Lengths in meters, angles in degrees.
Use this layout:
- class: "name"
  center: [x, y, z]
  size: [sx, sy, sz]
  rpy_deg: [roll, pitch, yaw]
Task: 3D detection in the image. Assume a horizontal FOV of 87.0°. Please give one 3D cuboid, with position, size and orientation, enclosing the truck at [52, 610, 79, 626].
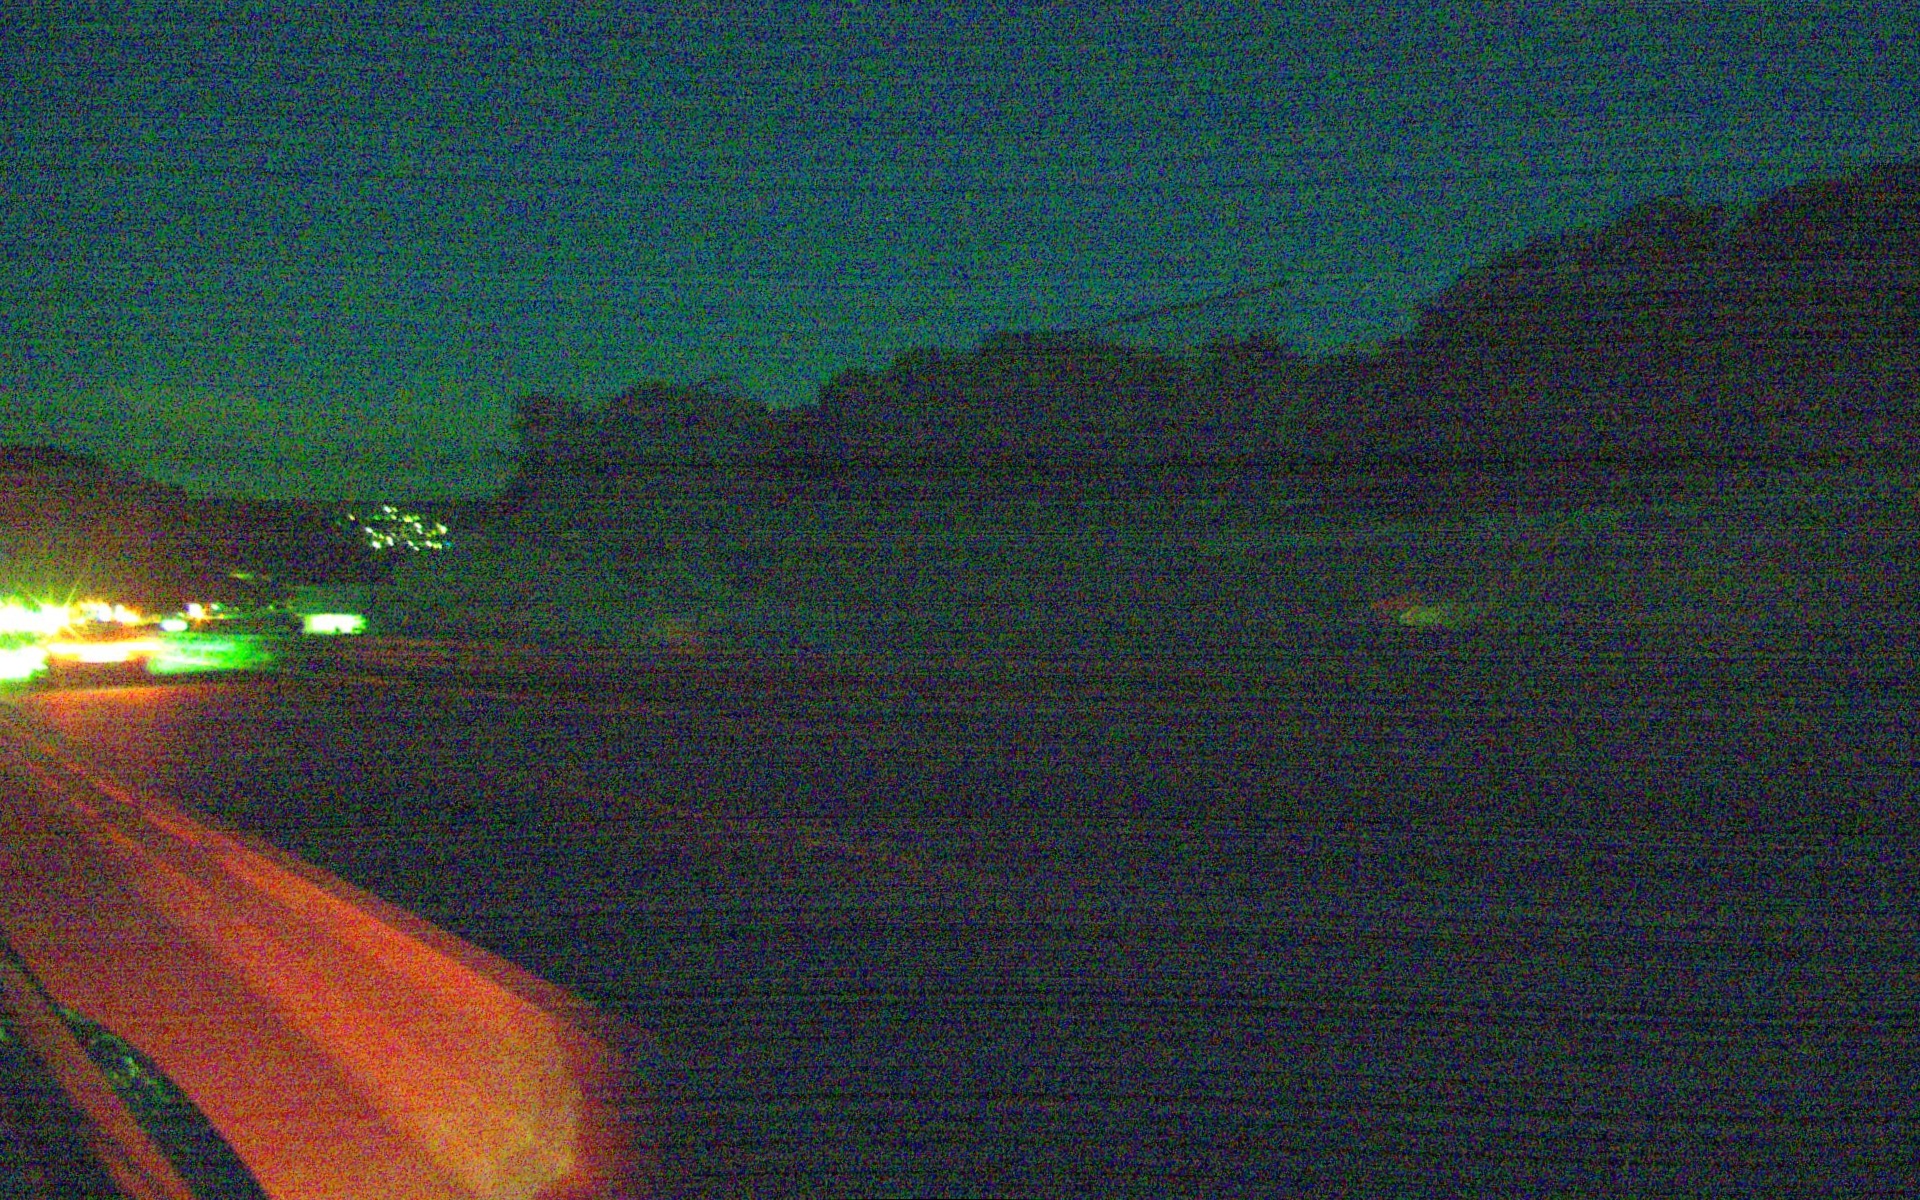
- class: "truck"
  center: [-140.242, 2.773, 158.686]
  size: [2.388, 2.443, 7.108]
  rpy_deg: [1, -2, -35]

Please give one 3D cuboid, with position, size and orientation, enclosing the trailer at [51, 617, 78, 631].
- class: "trailer"
  center: [-93.433, 2.548, 105.615]
  size: [3.352, 1.437, 1.862]
  rpy_deg: [-2, -3, 45]

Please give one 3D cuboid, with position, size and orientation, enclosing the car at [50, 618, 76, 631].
- class: "car"
  center: [-96.304, 2.655, 108.608]
  size: [1.890, 1.437, 4.956]
  rpy_deg: [2, -3, -44]

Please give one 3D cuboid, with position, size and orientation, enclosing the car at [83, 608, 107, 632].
- class: "car"
  center: [-120.461, 2.734, 140.893]
  size: [2.455, 3.129, 7.397]
  rpy_deg: [1, -1, -41]

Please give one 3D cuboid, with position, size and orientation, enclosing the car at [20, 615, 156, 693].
- class: "car"
  center: [-19.511, 1.116, 22.583]
  size: [4.522, 1.527, 1.799]
  rpy_deg: [0, 0, 43]

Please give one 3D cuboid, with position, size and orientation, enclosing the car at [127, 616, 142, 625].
- class: "car"
  center: [-141.482, 3.448, 173.403]
  size: [1.662, 1.470, 4.211]
  rpy_deg: [1, -2, -35]

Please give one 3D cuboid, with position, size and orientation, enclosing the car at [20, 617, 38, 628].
- class: "car"
  center: [-139.839, 3.376, 152.027]
  size: [1.665, 1.641, 4.731]
  rpy_deg: [2, -3, -38]

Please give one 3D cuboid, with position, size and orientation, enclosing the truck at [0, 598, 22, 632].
- class: "truck"
  center: [-126.380, 1.851, 132.897]
  size: [2.925, 4.307, 17.183]
  rpy_deg: [1, -1, -37]
